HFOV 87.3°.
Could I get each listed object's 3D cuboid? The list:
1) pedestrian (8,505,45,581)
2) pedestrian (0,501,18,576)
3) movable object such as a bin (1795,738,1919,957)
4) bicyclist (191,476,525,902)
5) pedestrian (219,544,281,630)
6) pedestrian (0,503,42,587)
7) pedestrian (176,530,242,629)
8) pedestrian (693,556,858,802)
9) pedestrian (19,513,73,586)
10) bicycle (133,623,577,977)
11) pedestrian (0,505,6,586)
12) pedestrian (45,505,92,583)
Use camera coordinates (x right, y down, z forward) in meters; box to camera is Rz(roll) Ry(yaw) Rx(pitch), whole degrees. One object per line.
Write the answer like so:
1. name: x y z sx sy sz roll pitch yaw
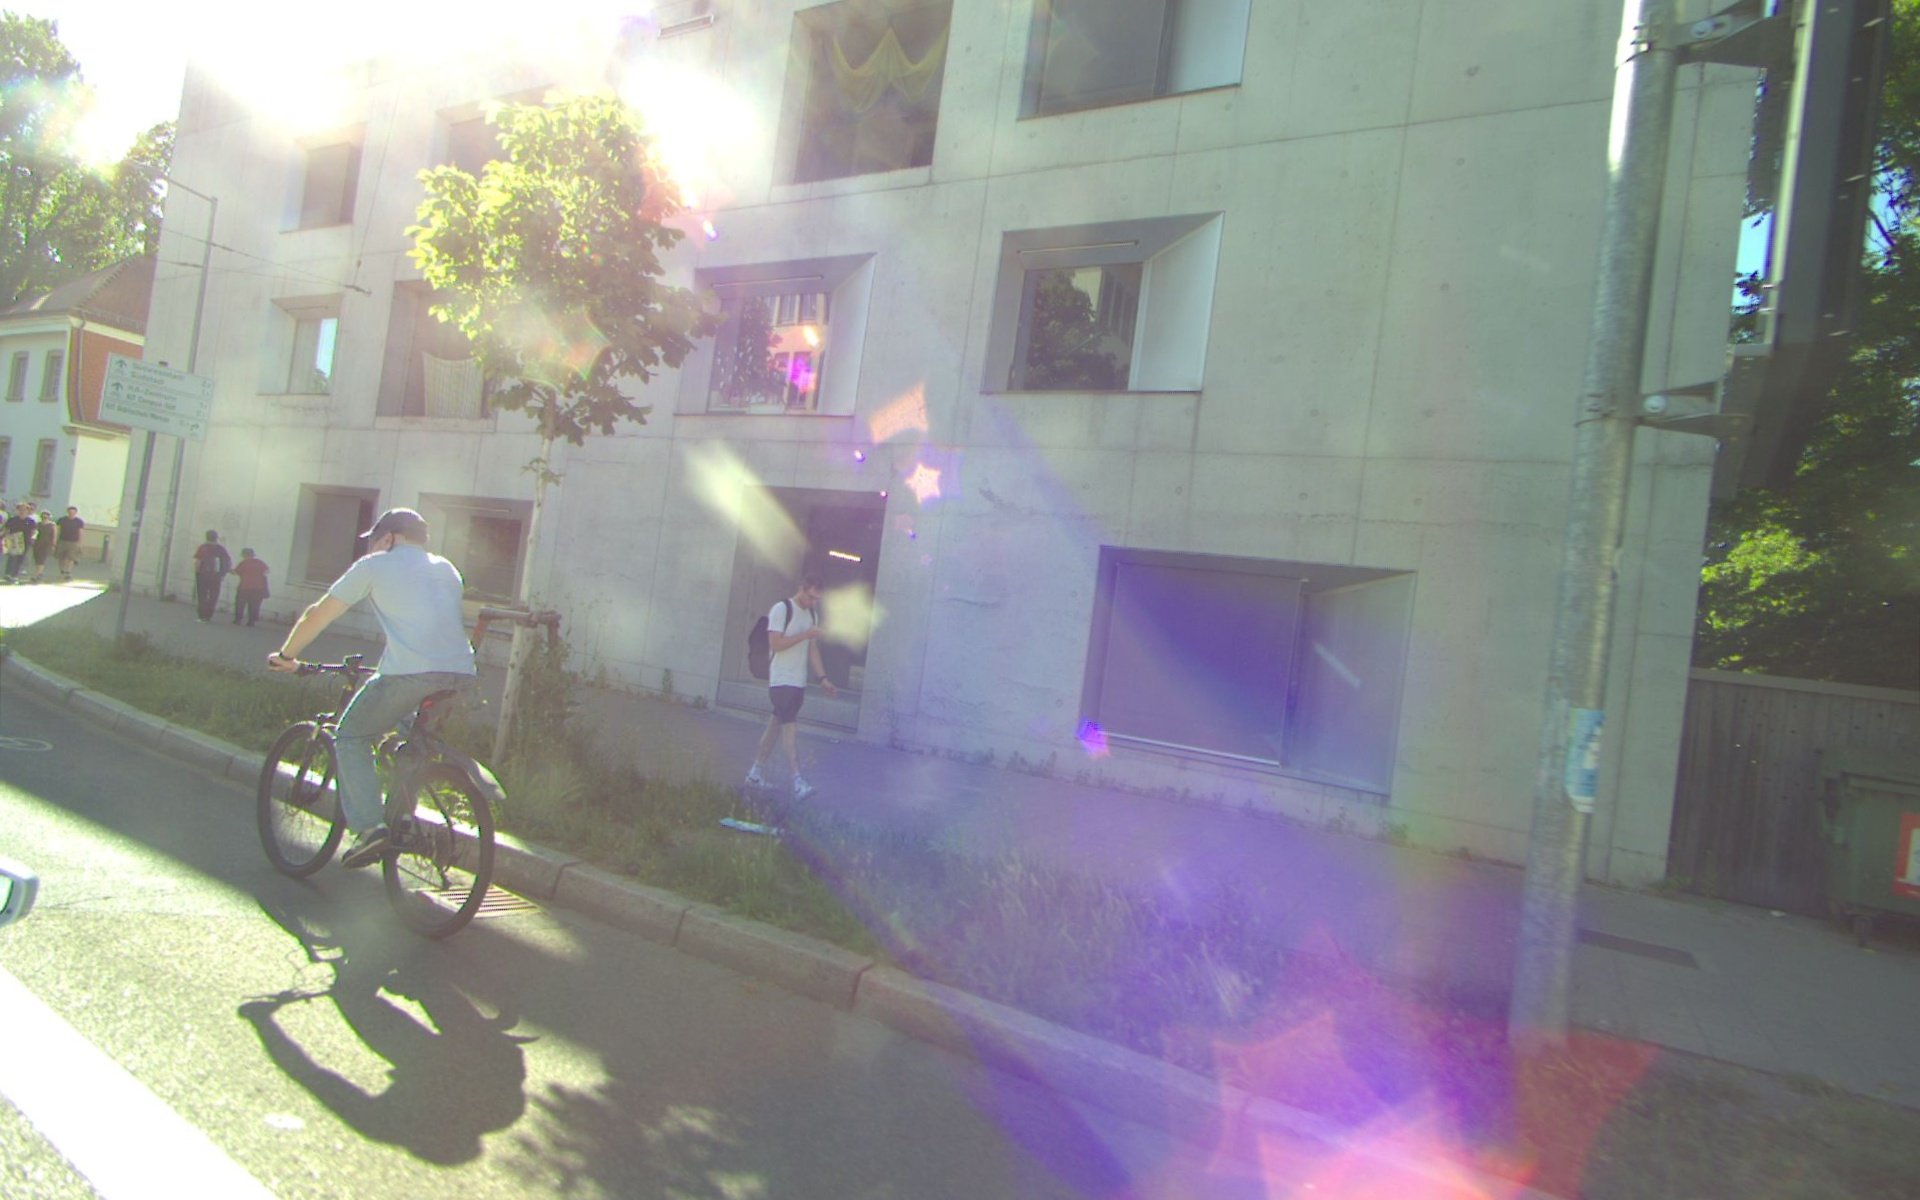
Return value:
1. pedestrian: -23.053 -1.395 24.844 0.607 1.798 0.644 3 3 -45
2. pedestrian: -23.565 -1.516 24.564 0.522 1.798 0.732 4 3 -20
3. movable object such as a bin: 7.313 1.888 7.558 1.332 1.480 0.935 7 -2 31
4. bicyclist: -2.752 0.369 4.628 0.955 1.704 0.740 7 -3 31
5. pedestrian: -12.669 -0.235 17.948 0.752 1.420 0.518 6 -1 32
6. pedestrian: -21.098 -1.232 22.553 0.943 1.787 0.645 7 3 44
7. pedestrian: -13.061 -0.354 17.495 0.752 1.619 0.518 6 -1 32
8. pedestrian: -1.532 0.635 8.403 0.939 1.872 0.685 7 0 28
9. pedestrian: -21.427 -1.183 23.581 0.882 1.626 0.826 7 3 44
10. bicycle: -2.821 0.804 4.616 2.076 1.106 0.740 6 -3 31
11. pedestrian: -21.380 -1.229 22.044 0.803 1.751 0.494 7 3 36
12. pedestrian: -22.111 -1.388 24.952 0.720 1.826 0.656 7 2 37
